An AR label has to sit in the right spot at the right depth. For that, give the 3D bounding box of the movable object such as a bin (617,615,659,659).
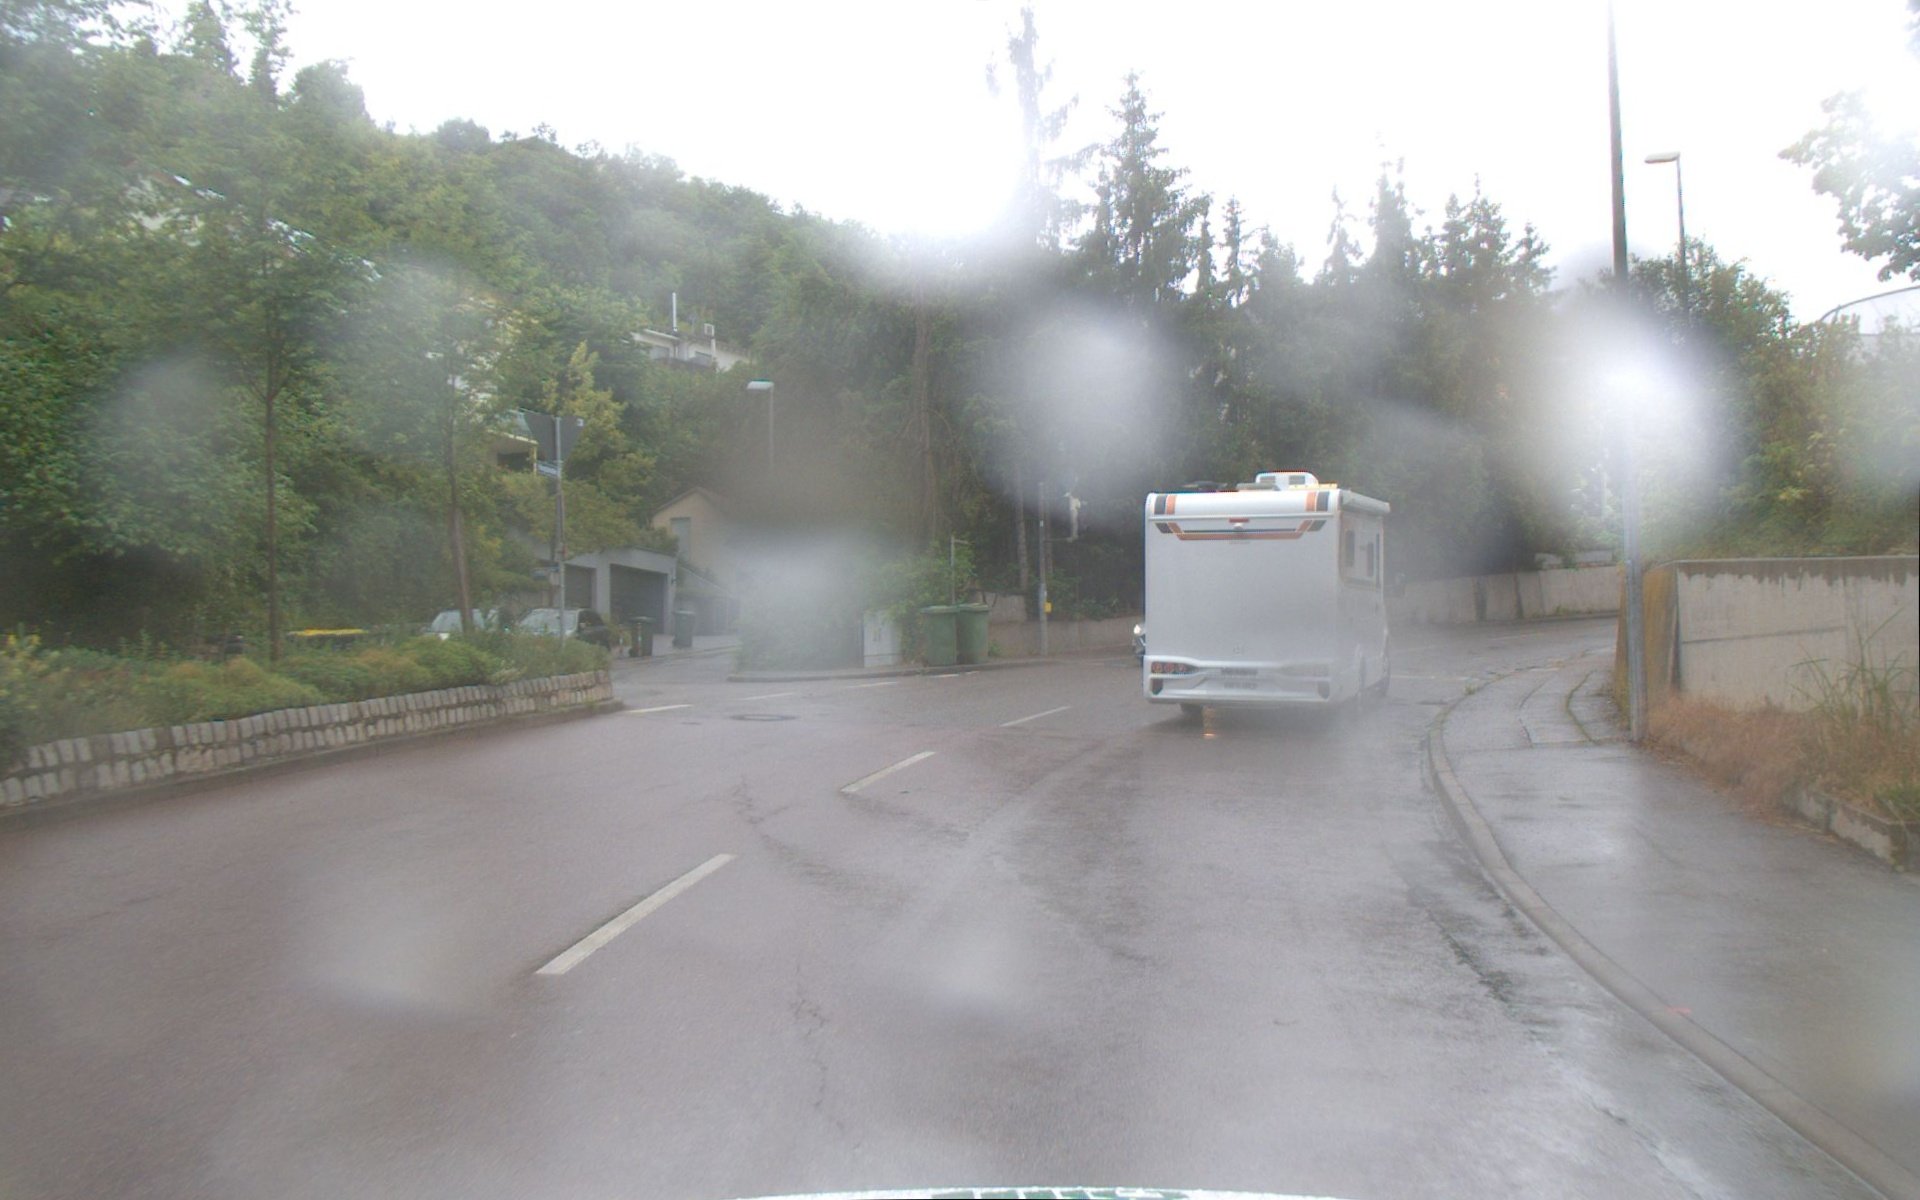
[{"bbox_3d":[-8.960,1.022,46.061,0.834,1.219,0.933,0,0,10],"label":"movable object such as a bin"}]

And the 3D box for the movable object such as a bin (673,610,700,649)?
[{"bbox_3d":[-8.718,0.941,52.729,0.690,1.244,0.591,0,0,13],"label":"movable object such as a bin"}]

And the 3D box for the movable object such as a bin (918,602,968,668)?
[{"bbox_3d":[-0.299,0.624,29.714,0.661,1.159,0.617,1,0,-38],"label":"movable object such as a bin"}]

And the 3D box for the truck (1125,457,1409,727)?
[{"bbox_3d":[4.086,-0.086,20.879,2.463,2.867,6.202,0,0,21],"label":"truck"}]

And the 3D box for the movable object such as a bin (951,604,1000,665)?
[{"bbox_3d":[0.279,0.621,30.118,0.699,1.107,0.553,1,0,-38],"label":"movable object such as a bin"}]

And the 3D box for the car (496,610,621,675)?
[{"bbox_3d":[-9.232,0.940,38.359,1.564,1.384,4.449,0,0,3],"label":"car"}]

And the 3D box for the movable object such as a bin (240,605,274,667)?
[{"bbox_3d":[-12.391,0.632,29.155,0.358,1.082,0.500,0,0,4],"label":"movable object such as a bin"}]
